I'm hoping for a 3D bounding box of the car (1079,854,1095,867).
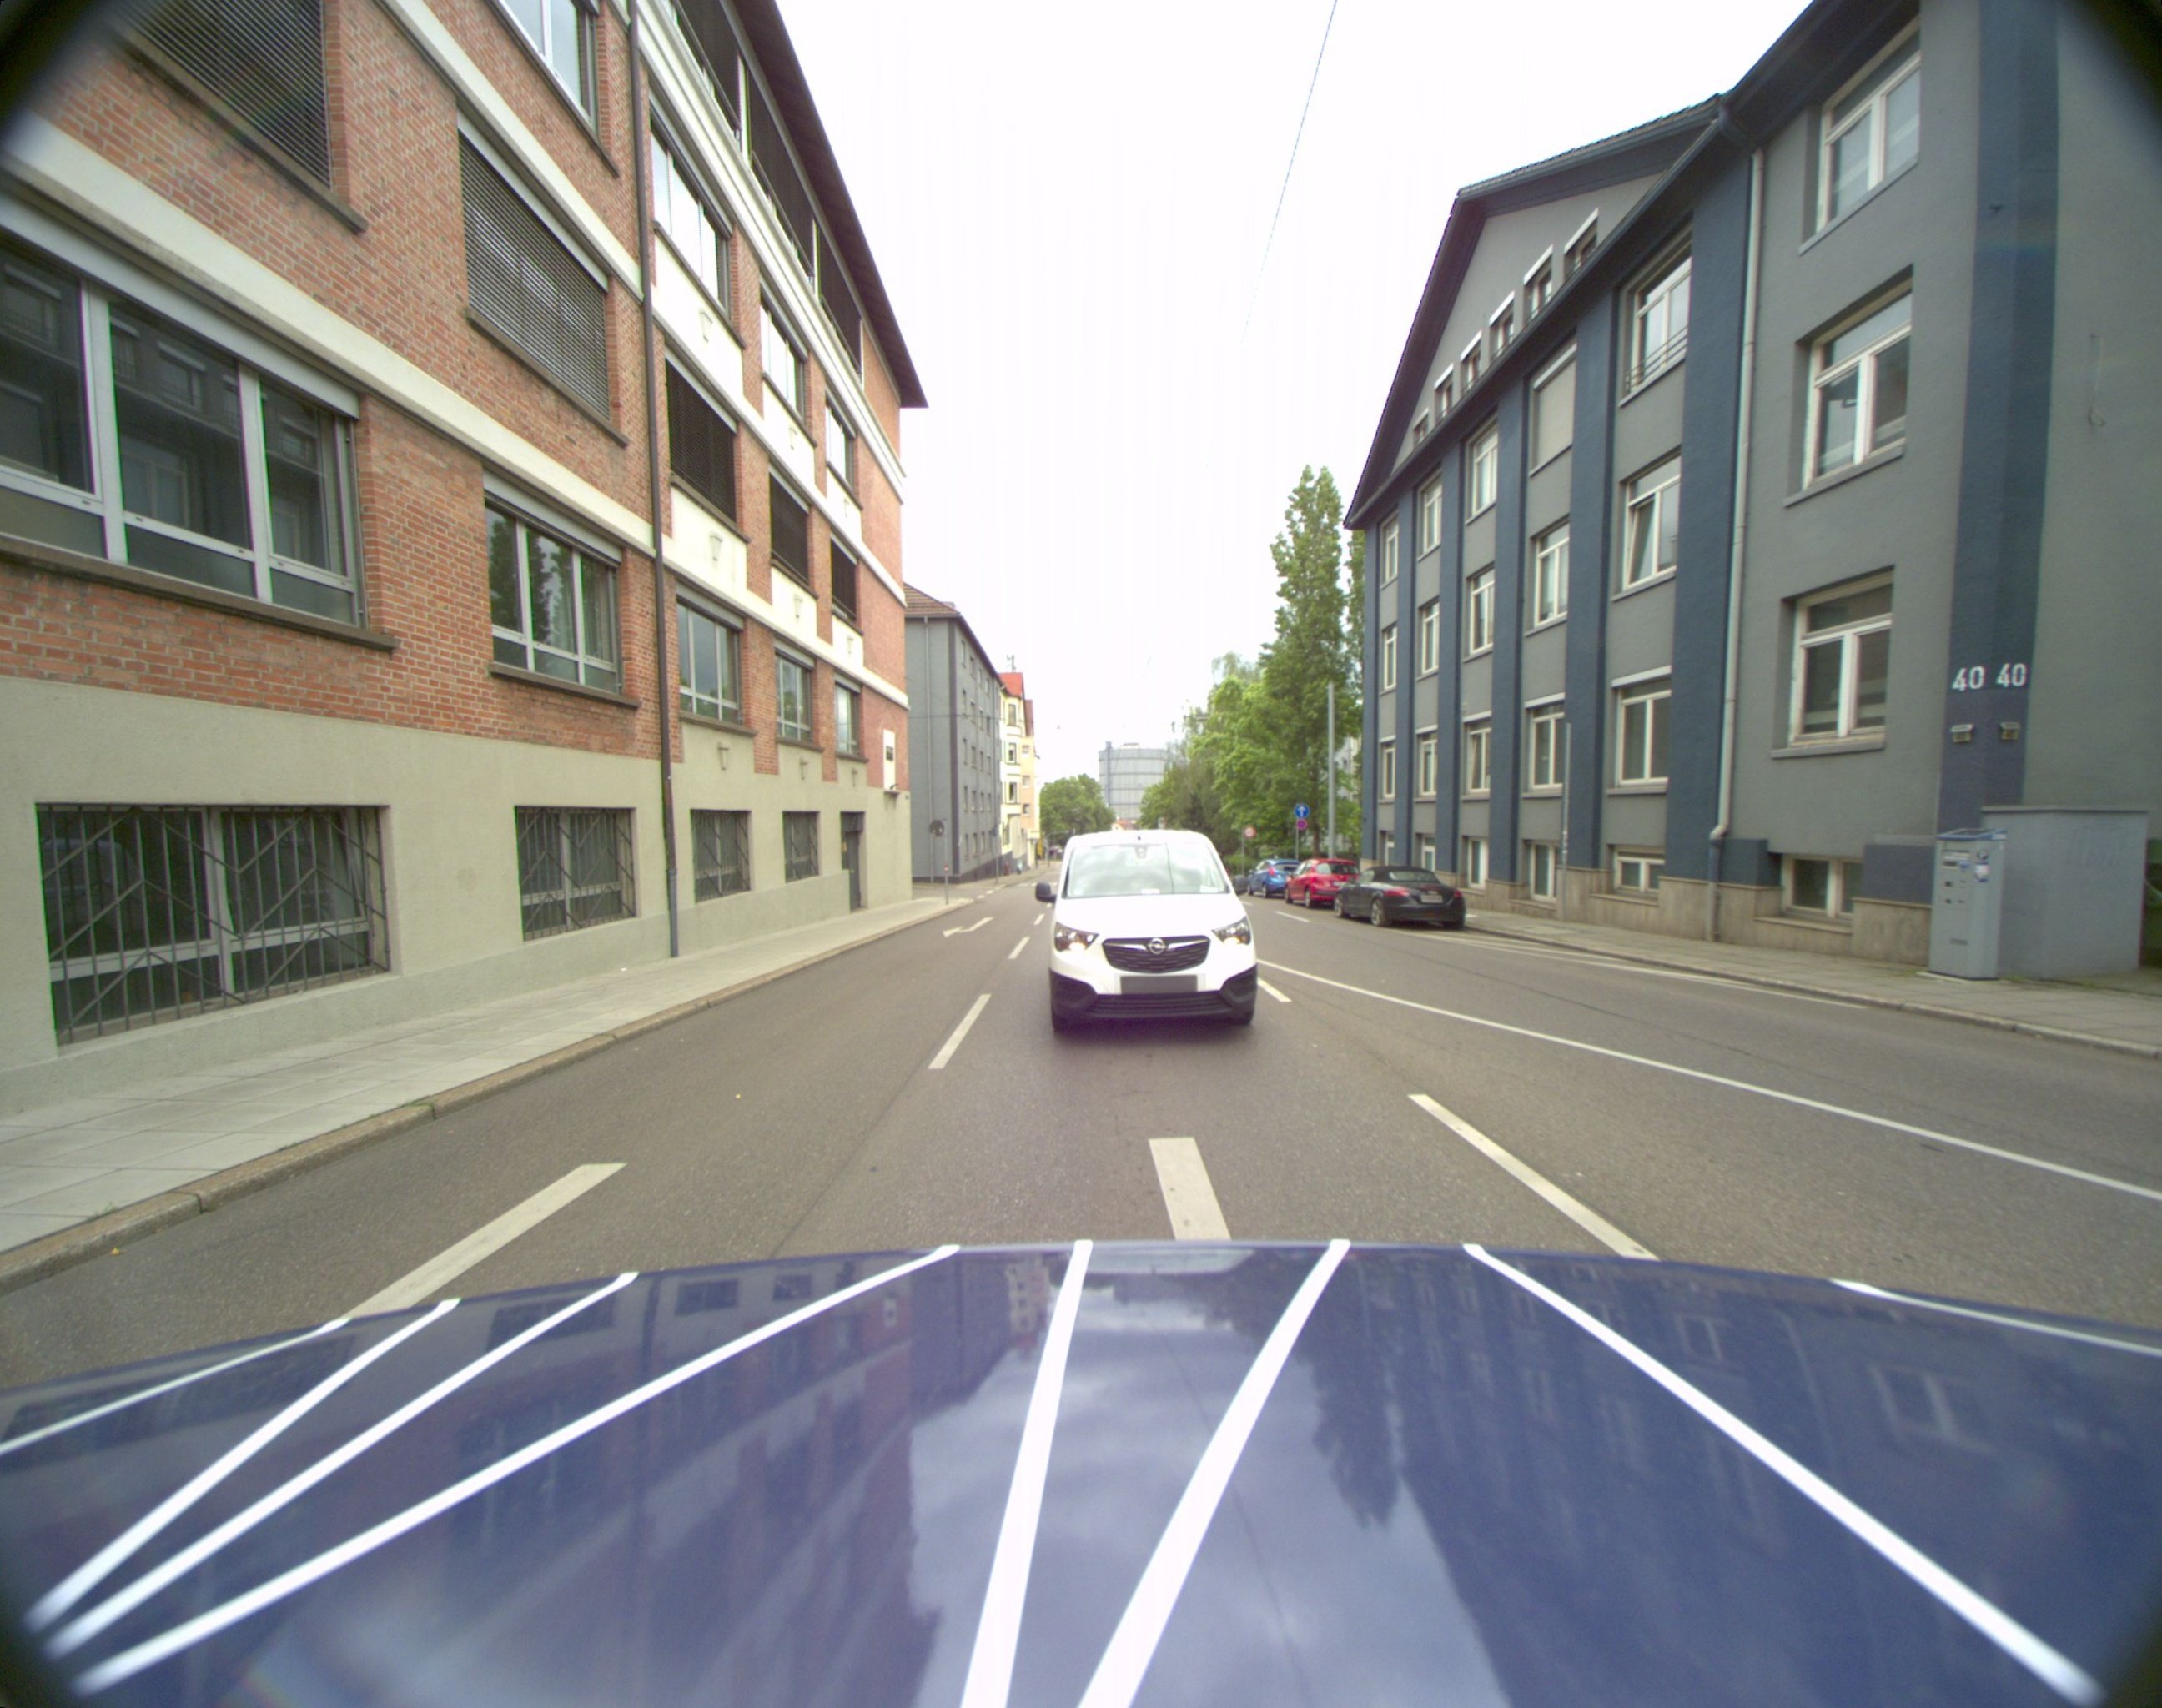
[{"bbox_3d":[0.696,0.724,88.009,1.724,1.486,3.727,1,0,2],"label":"car"}]

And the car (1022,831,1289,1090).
[{"bbox_3d":[0.578,0.760,7.915,1.840,1.797,4.939,-2,0,1],"label":"car"}]

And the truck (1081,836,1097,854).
[{"bbox_3d":[1.649,-1.745,153.945,2.980,3.394,9.358,-2,0,1],"label":"truck"}]

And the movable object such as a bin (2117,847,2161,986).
[{"bbox_3d":[12.081,0.645,7.976,1.267,1.448,0.784,-3,2,4],"label":"movable object such as a bin"}]

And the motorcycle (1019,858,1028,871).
[{"bbox_3d":[-5.065,0.935,67.382,0.566,1.105,1.653,4,0,2],"label":"motorcycle"}]

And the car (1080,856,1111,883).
[{"bbox_3d":[0.847,0.866,44.317,1.724,1.486,3.727,1,0,2],"label":"car"}]

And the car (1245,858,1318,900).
[{"bbox_3d":[7.500,0.892,28.783,1.724,1.445,3.727,1,0,0],"label":"car"}]

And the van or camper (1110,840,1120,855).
[{"bbox_3d":[6.632,-1.283,148.611,1.914,2.754,5.925,1,0,2],"label":"van or camper"}]

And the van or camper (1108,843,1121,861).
[{"bbox_3d":[5.215,-0.305,118.783,1.914,2.754,5.925,1,0,2],"label":"van or camper"}]

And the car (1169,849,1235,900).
[{"bbox_3d":[4.467,0.701,28.649,1.788,1.697,4.306,2,0,0],"label":"car"}]

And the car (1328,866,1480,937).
[{"bbox_3d":[7.193,0.998,17.416,1.724,1.319,4.041,2,0,0],"label":"car"}]

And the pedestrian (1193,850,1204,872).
[{"bbox_3d":[9.750,0.579,62.966,0.746,1.839,0.776,-1,1,2],"label":"pedestrian"}]

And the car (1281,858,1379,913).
[{"bbox_3d":[7.468,0.902,23.177,1.819,1.465,3.869,2,0,2],"label":"car"}]
